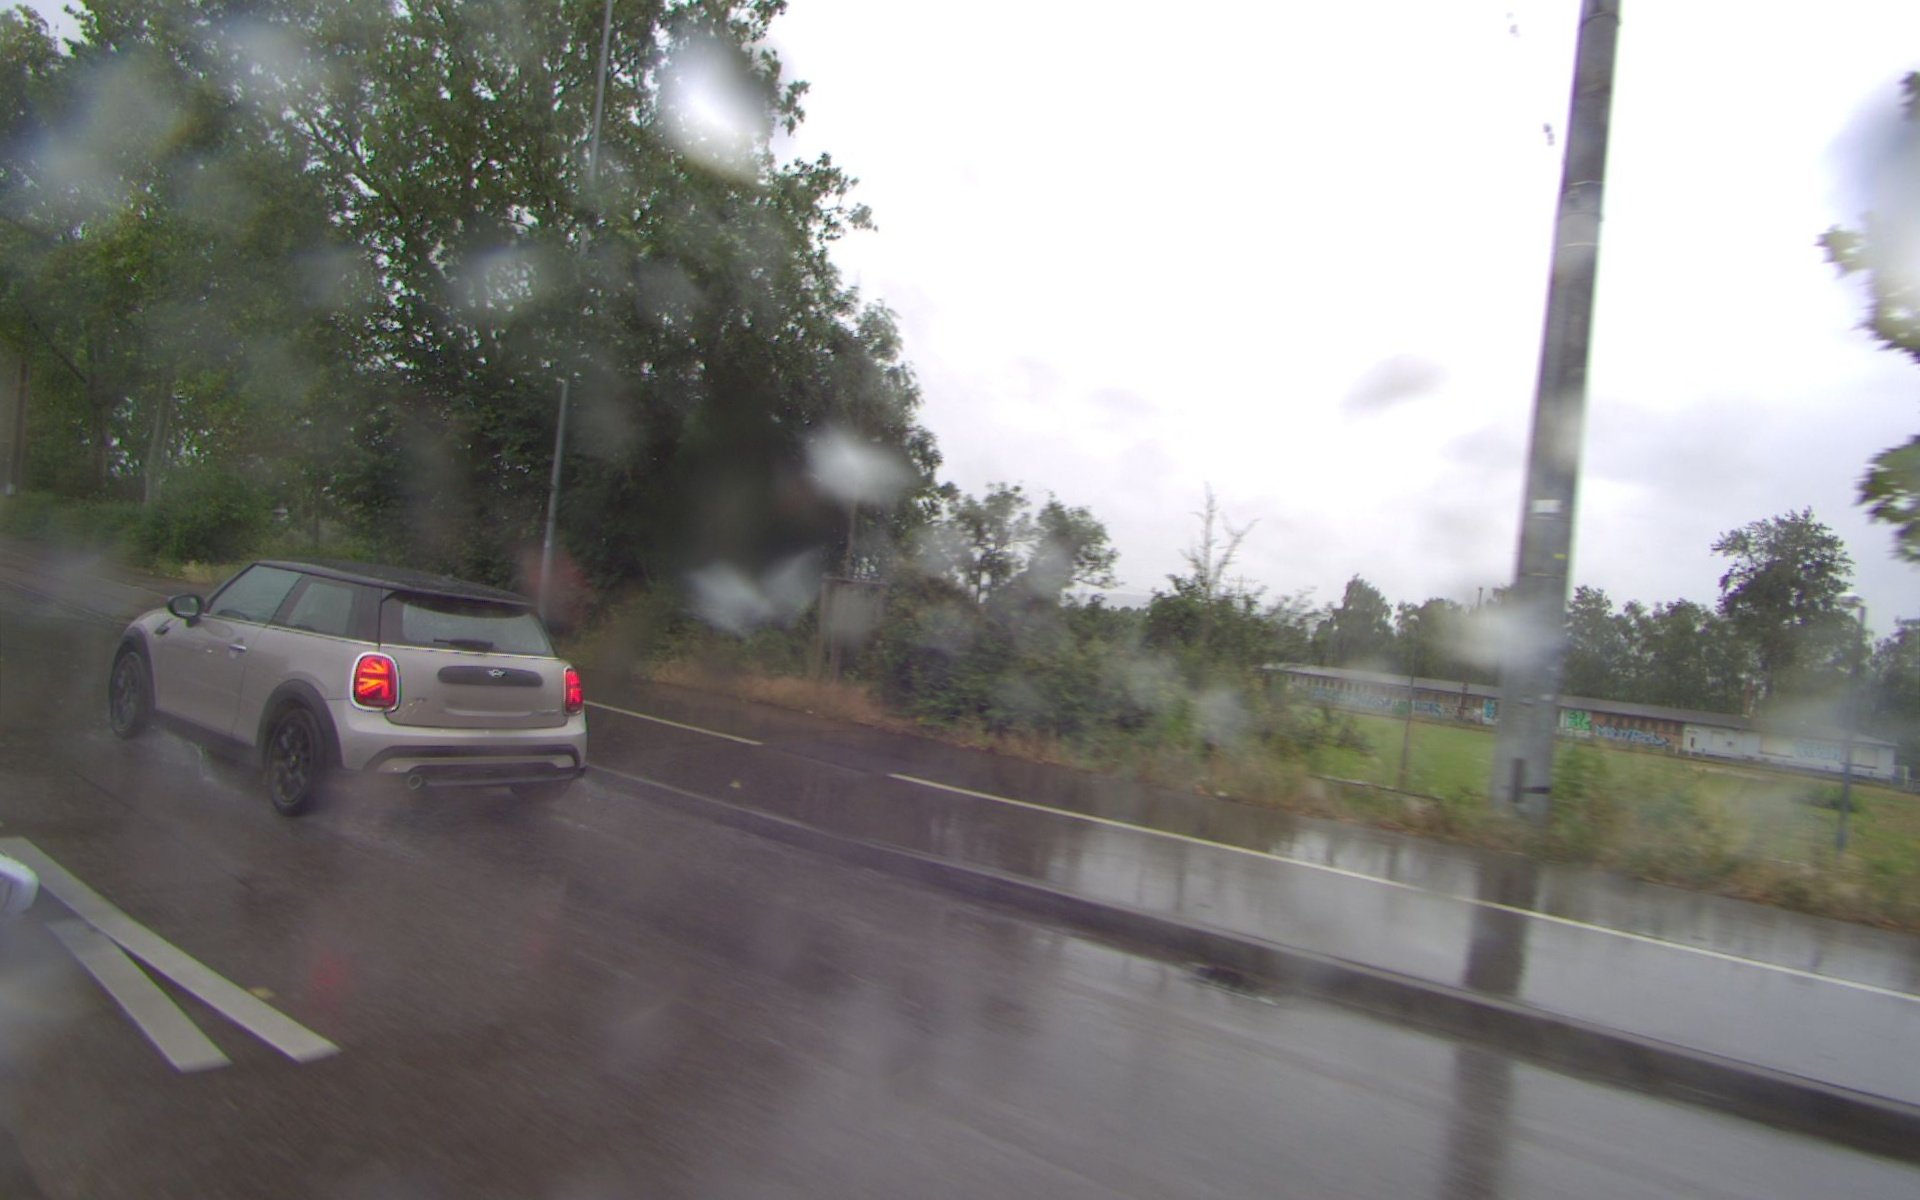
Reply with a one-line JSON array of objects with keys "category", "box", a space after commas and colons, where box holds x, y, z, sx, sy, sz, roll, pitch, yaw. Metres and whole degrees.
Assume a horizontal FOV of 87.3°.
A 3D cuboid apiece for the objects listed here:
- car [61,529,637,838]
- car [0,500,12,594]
[{"category": "car", "box": [-4.265, 0.460, 6.894, 3.792, 1.429, 1.795, 5, -4, 33]}, {"category": "car", "box": [-17.581, -1.103, 16.693, 3.930, 1.546, 1.968, 7, -1, 37]}]
